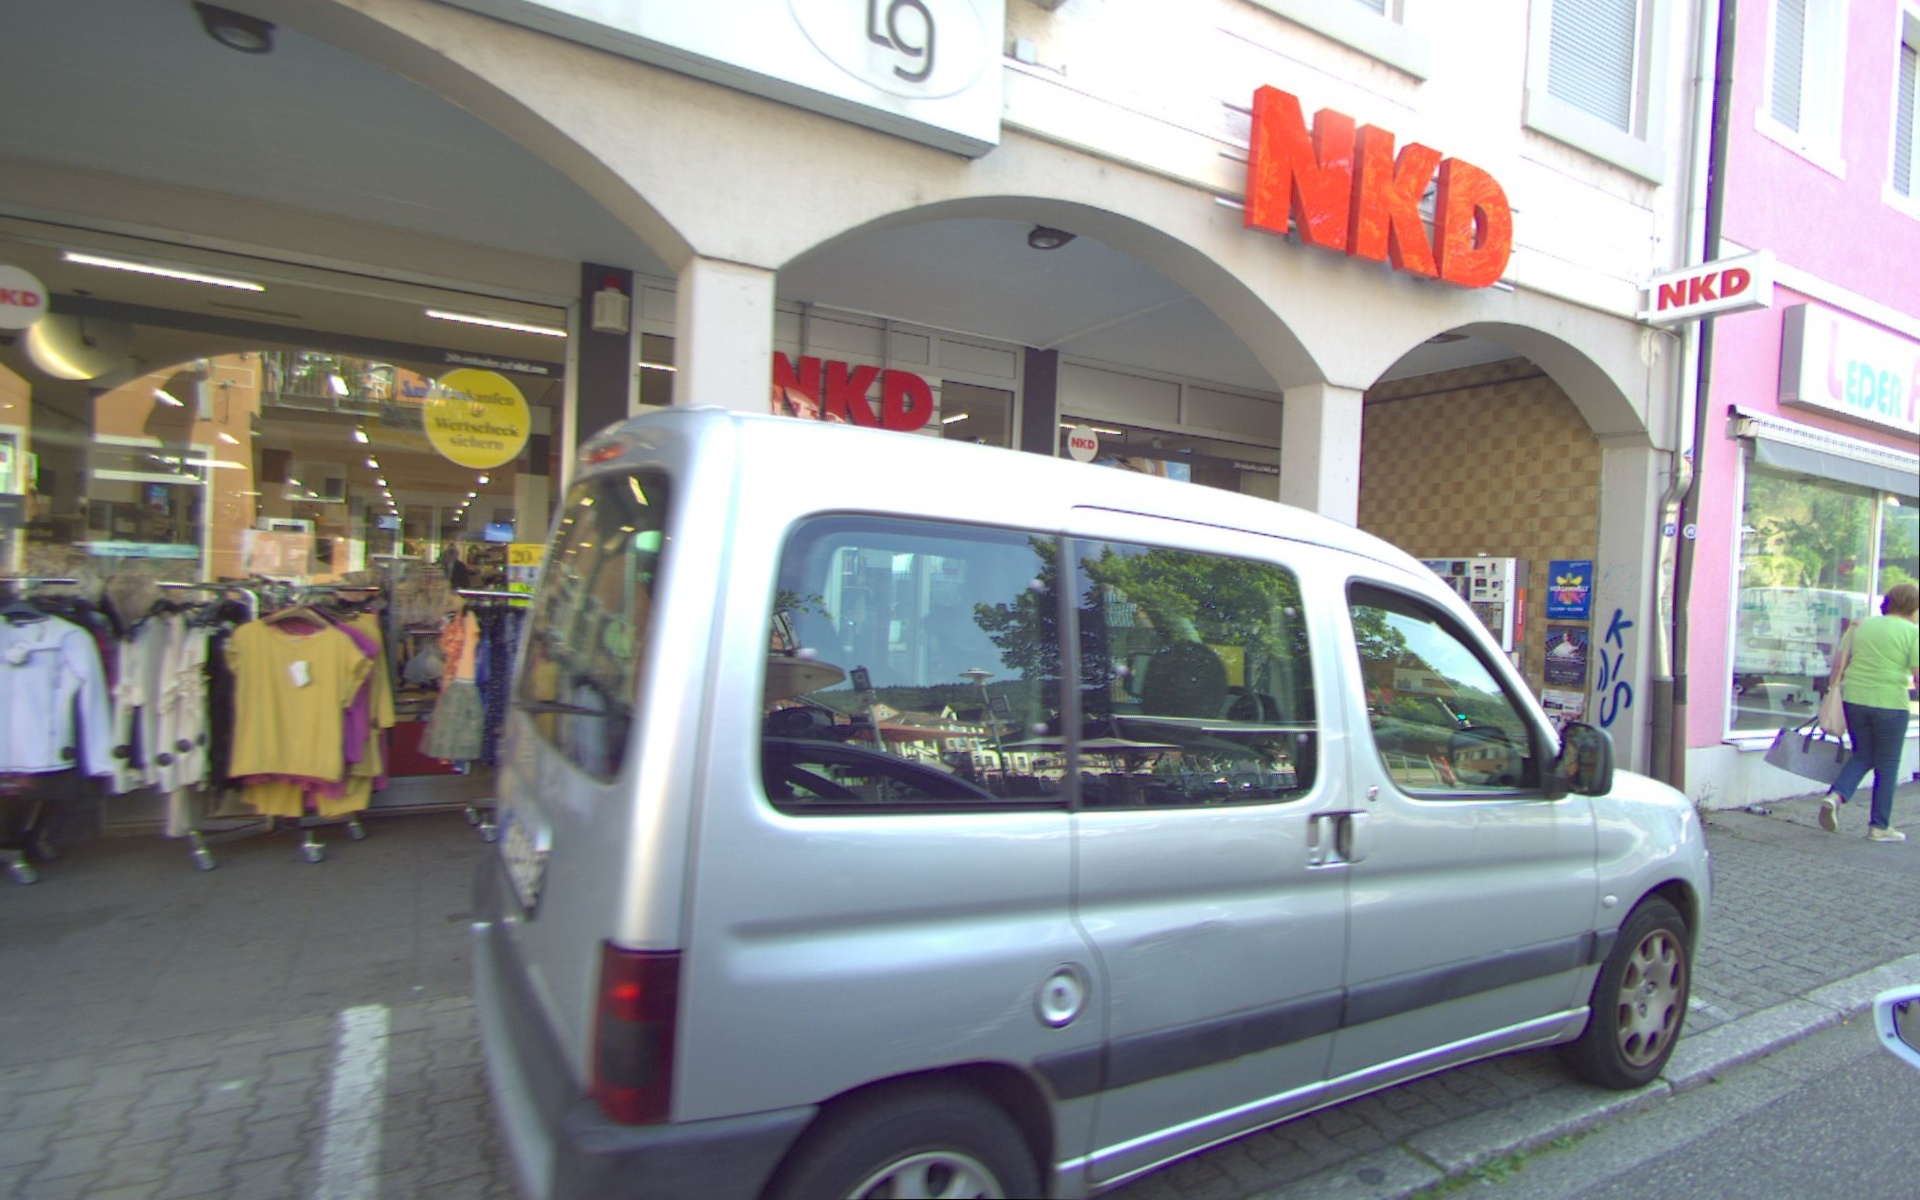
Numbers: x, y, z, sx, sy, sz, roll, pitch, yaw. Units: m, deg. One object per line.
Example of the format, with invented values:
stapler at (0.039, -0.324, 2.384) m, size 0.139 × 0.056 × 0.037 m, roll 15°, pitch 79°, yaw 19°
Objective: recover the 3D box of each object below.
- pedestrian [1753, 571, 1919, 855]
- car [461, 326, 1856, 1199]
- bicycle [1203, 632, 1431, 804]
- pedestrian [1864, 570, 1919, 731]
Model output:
pedestrian at (5.844, 0.671, 6.451) m, size 0.848 × 1.654 × 0.783 m, roll 1°, pitch 3°, yaw -26°
car at (0.821, 0.524, 3.096) m, size 4.098 × 1.763 × 1.697 m, roll 1°, pitch 3°, yaw -31°
bicycle at (2.668, 0.819, 7.432) m, size 1.802 × 1.137 × 0.517 m, roll 1°, pitch 1°, yaw -30°
pedestrian at (10.609, 0.553, 11.149) m, size 0.703 × 1.745 × 0.672 m, roll 2°, pitch 1°, yaw 33°
